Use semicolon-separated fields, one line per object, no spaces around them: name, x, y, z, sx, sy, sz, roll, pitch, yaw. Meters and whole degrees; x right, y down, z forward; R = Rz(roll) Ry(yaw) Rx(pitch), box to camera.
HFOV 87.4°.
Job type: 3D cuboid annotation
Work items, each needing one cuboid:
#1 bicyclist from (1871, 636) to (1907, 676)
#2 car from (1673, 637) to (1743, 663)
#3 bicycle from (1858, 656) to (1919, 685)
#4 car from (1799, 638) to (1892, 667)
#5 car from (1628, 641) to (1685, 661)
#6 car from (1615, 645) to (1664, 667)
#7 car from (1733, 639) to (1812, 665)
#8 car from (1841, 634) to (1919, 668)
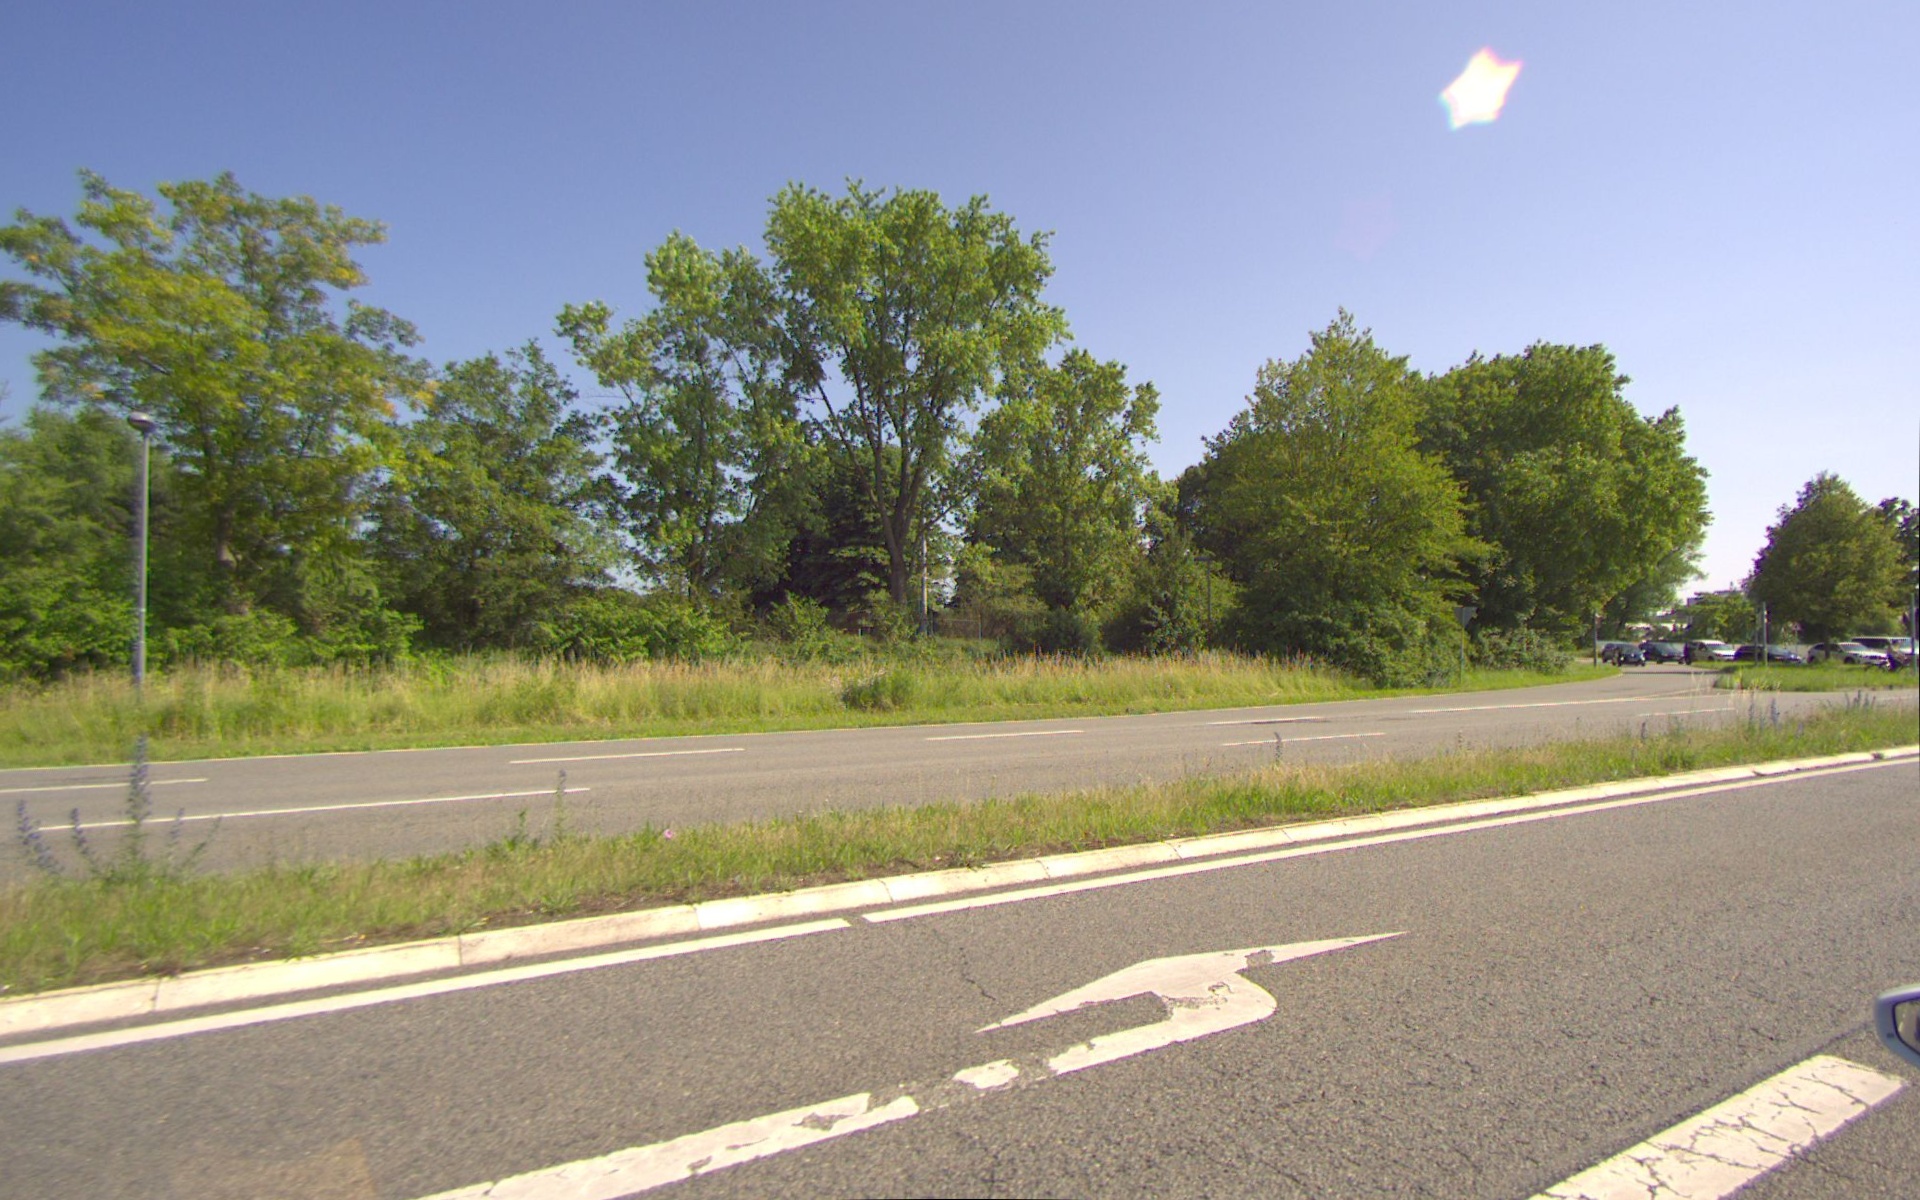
bicyclist;37.032;2.216;40.030;0.737;1.538;0.844;1;-1;-25
car;53.983;3.608;72.623;1.964;1.824;4.511;0;-2;5
bicycle;37.014;2.804;40.052;0.737;1.055;1.671;1;-1;-24
car;52.478;3.104;59.646;1.964;1.627;4.271;0;-2;5
car;54.574;3.976;78.767;1.881;1.532;4.129;0;-2;5
car;48.276;3.971;71.431;1.961;1.515;4.284;-2;-3;22
car;53.128;3.367;65.816;1.964;1.627;4.271;0;-2;5
car;56.064;3.040;60.585;1.960;1.975;4.659;0;-2;5
